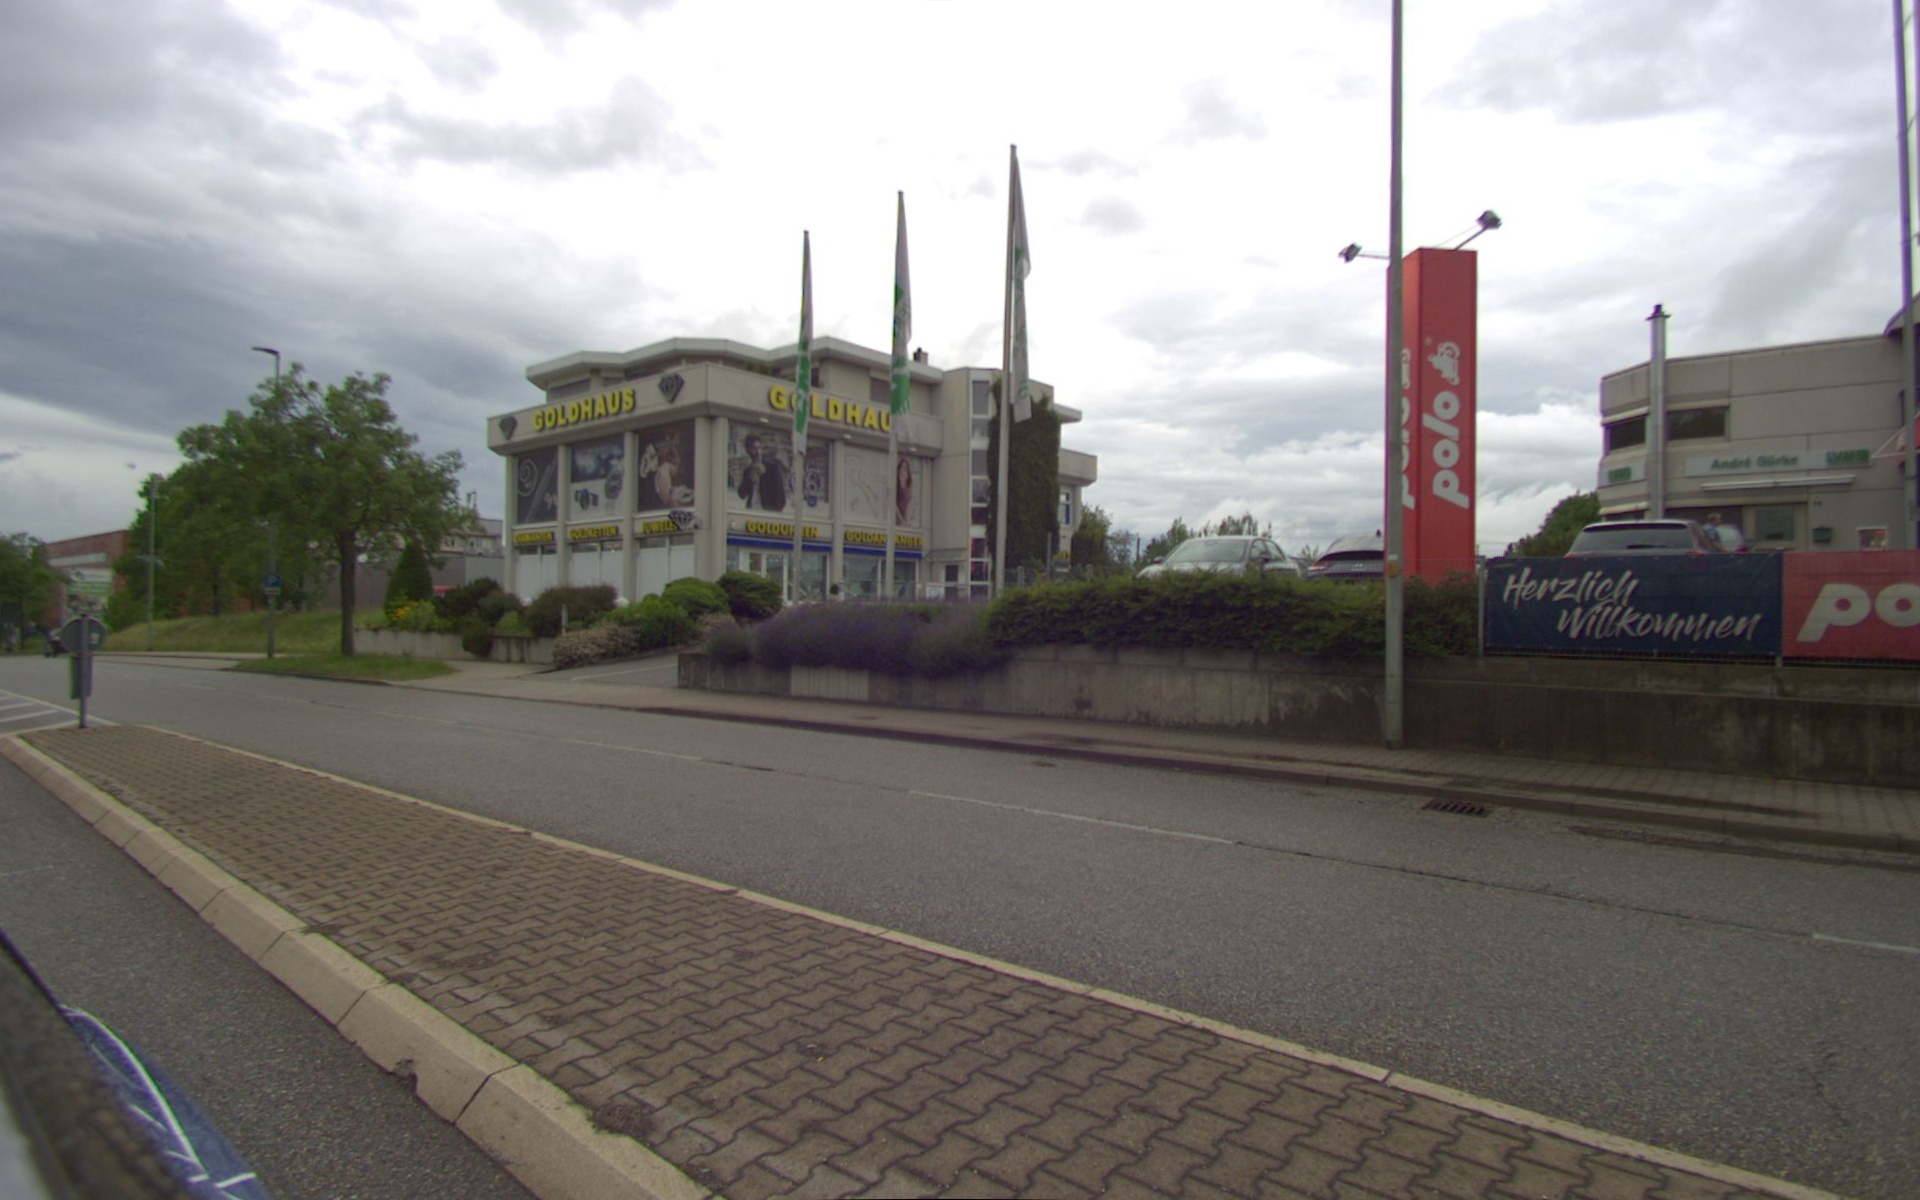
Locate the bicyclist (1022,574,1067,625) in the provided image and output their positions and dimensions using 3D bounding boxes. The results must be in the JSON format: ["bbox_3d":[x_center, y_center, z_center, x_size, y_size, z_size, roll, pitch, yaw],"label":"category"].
[{"bbox_3d":[2.600,-0.017,31.081,0.909,1.453,1.014,-2,4,39],"label":"bicyclist"}]

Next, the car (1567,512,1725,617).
[{"bbox_3d":[9.041,-0.373,13.243,1.452,1.176,3.353,-1,-2,38],"label":"car"}]

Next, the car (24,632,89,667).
[{"bbox_3d":[-52.777,2.884,59.092,4.542,1.905,2.320,-4,-4,41],"label":"car"}]

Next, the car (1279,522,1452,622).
[{"bbox_3d":[6.014,-0.326,14.843,1.452,1.287,3.353,-1,-2,38],"label":"car"}]

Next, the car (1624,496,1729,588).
[{"bbox_3d":[13.851,-1.041,19.508,1.452,1.484,3.353,-1,-2,38],"label":"car"}]

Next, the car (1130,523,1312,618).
[{"bbox_3d":[4.254,-0.387,16.239,1.454,1.347,3.350,-1,-2,42],"label":"car"}]
